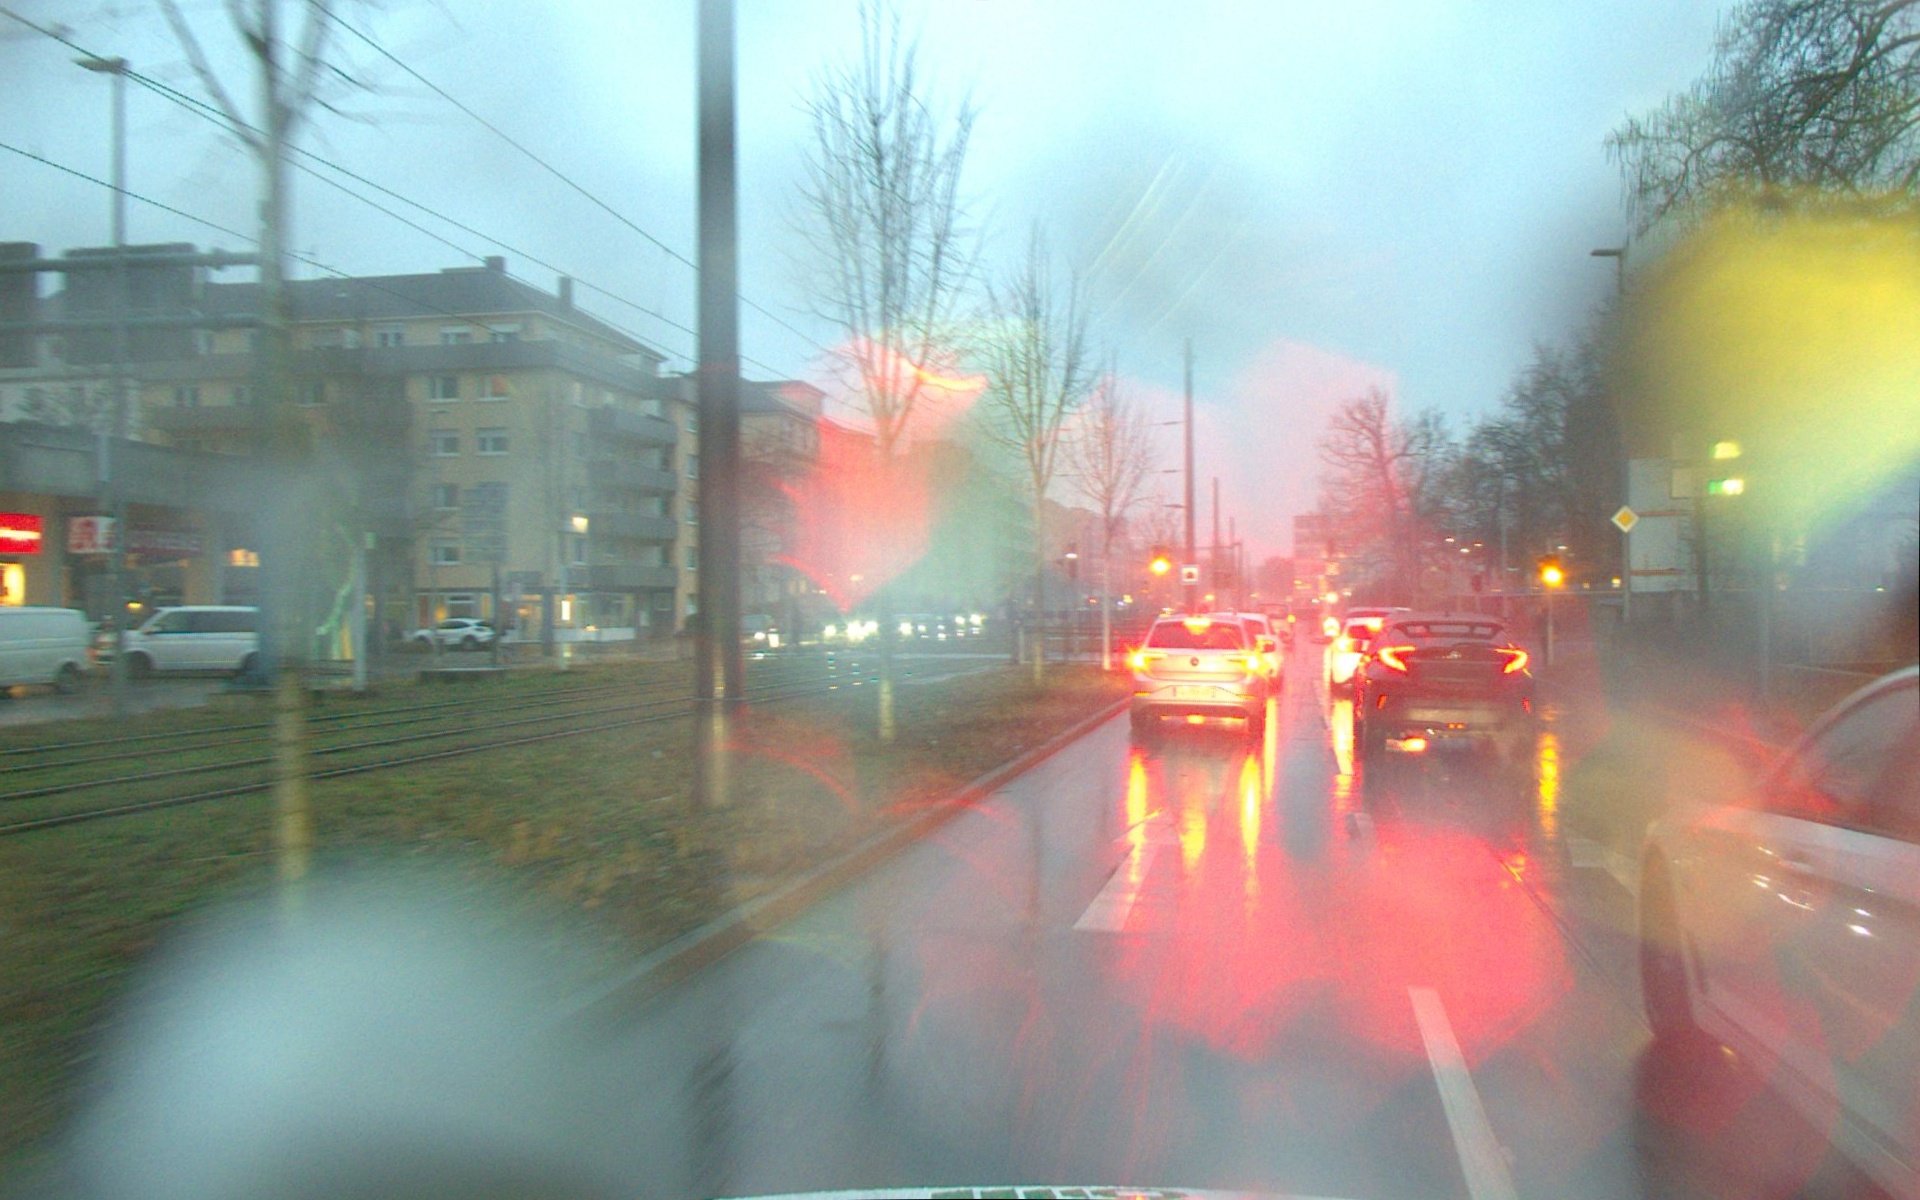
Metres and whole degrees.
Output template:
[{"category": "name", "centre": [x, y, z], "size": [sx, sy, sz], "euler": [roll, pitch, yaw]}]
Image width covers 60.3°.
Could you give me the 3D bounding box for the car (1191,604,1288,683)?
[{"category": "car", "centre": [5.718, 0.833, 33.422], "size": [1.760, 1.492, 4.589], "euler": [-1, 0, 12]}]

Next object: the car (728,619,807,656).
[{"category": "car", "centre": [-7.476, 1.448, 64.655], "size": [1.819, 1.355, 4.319], "euler": [1, -1, 11]}]

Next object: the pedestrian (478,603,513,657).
[{"category": "pedestrian", "centre": [-17.875, 1.138, 63.659], "size": [1.247, 2.049, 1.004], "euler": [0, -1, -12]}]

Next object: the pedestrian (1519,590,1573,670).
[{"category": "pedestrian", "centre": [15.356, 0.777, 43.380], "size": [0.941, 2.049, 1.005], "euler": [0, -1, -11]}]

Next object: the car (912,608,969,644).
[{"category": "car", "centre": [-0.891, 1.227, 78.444], "size": [1.951, 1.630, 4.003], "euler": [1, -1, 11]}]

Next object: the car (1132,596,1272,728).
[{"category": "car", "centre": [3.252, 0.753, 21.921], "size": [1.657, 1.560, 4.003], "euler": [1, 0, 10]}]

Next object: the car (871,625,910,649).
[{"category": "car", "centre": [-3.902, 2.052, 93.454], "size": [1.655, 1.300, 4.150], "euler": [0, -1, 5]}]

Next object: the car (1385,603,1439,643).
[{"category": "car", "centre": [16.869, 0.837, 61.828], "size": [1.700, 1.444, 3.706], "euler": [-1, 0, 12]}]

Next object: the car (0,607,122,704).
[{"category": "car", "centre": [-21.562, 1.199, 36.710], "size": [1.951, 2.081, 5.568], "euler": [1, -1, 16]}]

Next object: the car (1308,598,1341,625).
[{"category": "car", "centre": [20.309, 0.620, 92.161], "size": [1.700, 1.444, 4.149], "euler": [-1, 0, 12]}]

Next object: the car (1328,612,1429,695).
[{"category": "car", "centre": [8.034, 1.000, 31.994], "size": [1.708, 1.458, 3.734], "euler": [1, -1, 12]}]

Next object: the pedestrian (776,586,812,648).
[{"category": "pedestrian", "centre": [-5.605, 0.575, 55.787], "size": [0.990, 2.049, 0.956], "euler": [0, -1, -22]}]

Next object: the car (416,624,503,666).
[{"category": "car", "centre": [-24.777, 2.212, 81.975], "size": [3.669, 1.976, 1.843], "euler": [2, -1, 4]}]

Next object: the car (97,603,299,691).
[{"category": "car", "centre": [-21.030, 1.311, 45.730], "size": [4.774, 2.283, 1.976], "euler": [2, -1, -34]}]

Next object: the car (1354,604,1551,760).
[{"category": "car", "centre": [5.363, 0.836, 18.421], "size": [1.761, 1.537, 3.898], "euler": [0, -1, 12]}]

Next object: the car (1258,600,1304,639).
[{"category": "car", "centre": [12.605, 0.757, 64.883], "size": [1.700, 1.444, 4.397], "euler": [-1, 0, 12]}]

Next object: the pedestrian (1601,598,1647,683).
[{"category": "pedestrian", "centre": [16.390, 0.990, 40.848], "size": [0.938, 2.049, 1.008], "euler": [-1, -1, 17]}]

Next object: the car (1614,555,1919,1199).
[{"category": "car", "centre": [3.107, 0.690, 4.216], "size": [1.823, 1.583, 4.942], "euler": [-1, 0, 12]}]
